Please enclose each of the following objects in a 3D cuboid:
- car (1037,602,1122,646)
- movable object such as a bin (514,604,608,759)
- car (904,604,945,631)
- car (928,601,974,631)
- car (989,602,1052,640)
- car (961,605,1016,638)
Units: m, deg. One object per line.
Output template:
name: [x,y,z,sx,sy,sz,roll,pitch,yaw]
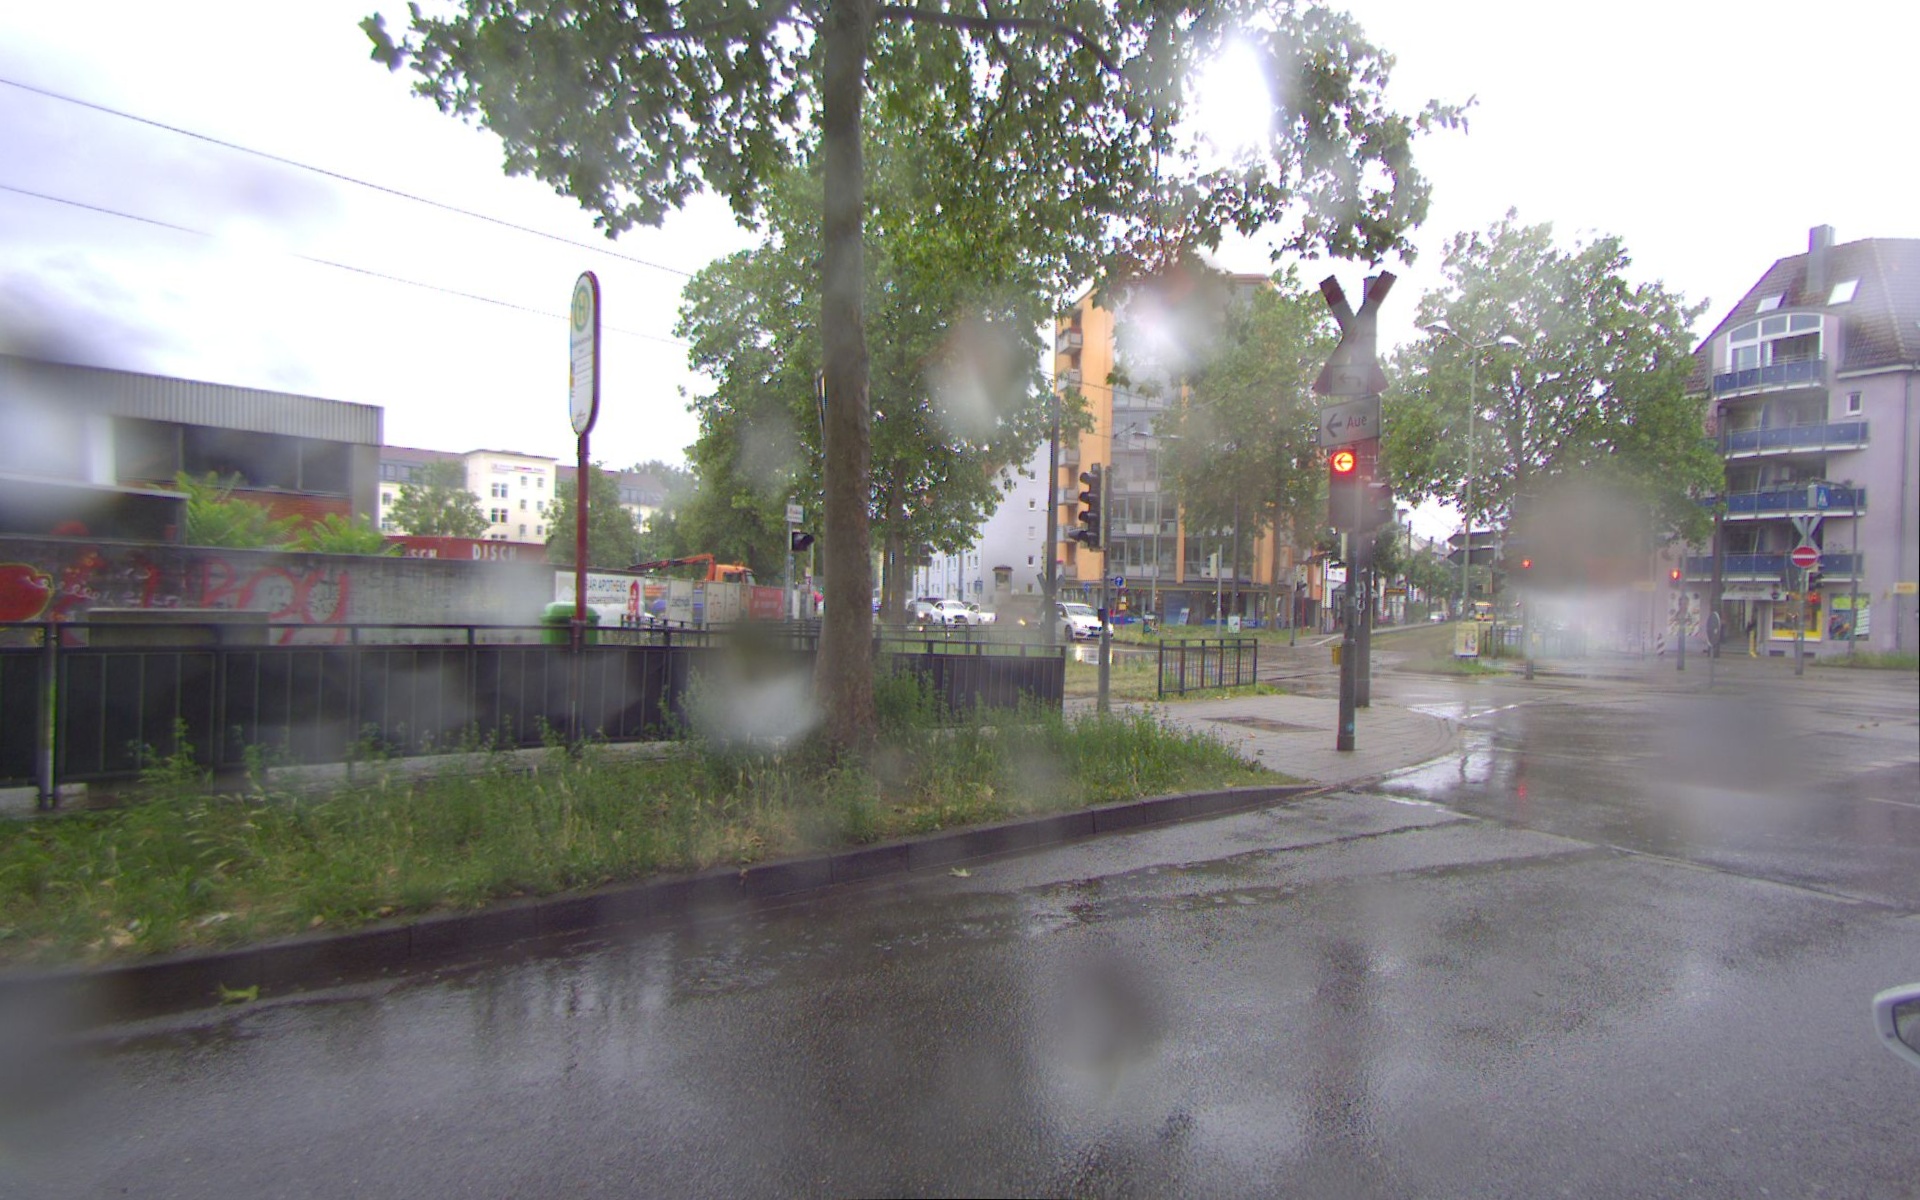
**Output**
car: [4.718,0.961,40.337,1.941,1.673,4.004,1,-1,-17]
movable object such as a bin: [-2.989,0.592,7.530,0.412,1.104,0.528,0,-1,44]
car: [-2.282,1.144,64.500,1.697,1.661,3.780,1,-1,-17]
car: [-0.566,0.954,58.402,1.697,1.661,3.780,1,-1,-17]
car: [2.756,0.975,46.448,1.697,1.661,3.780,1,-1,-17]
car: [1.450,1.123,52.433,1.697,1.661,3.780,1,-1,-17]
